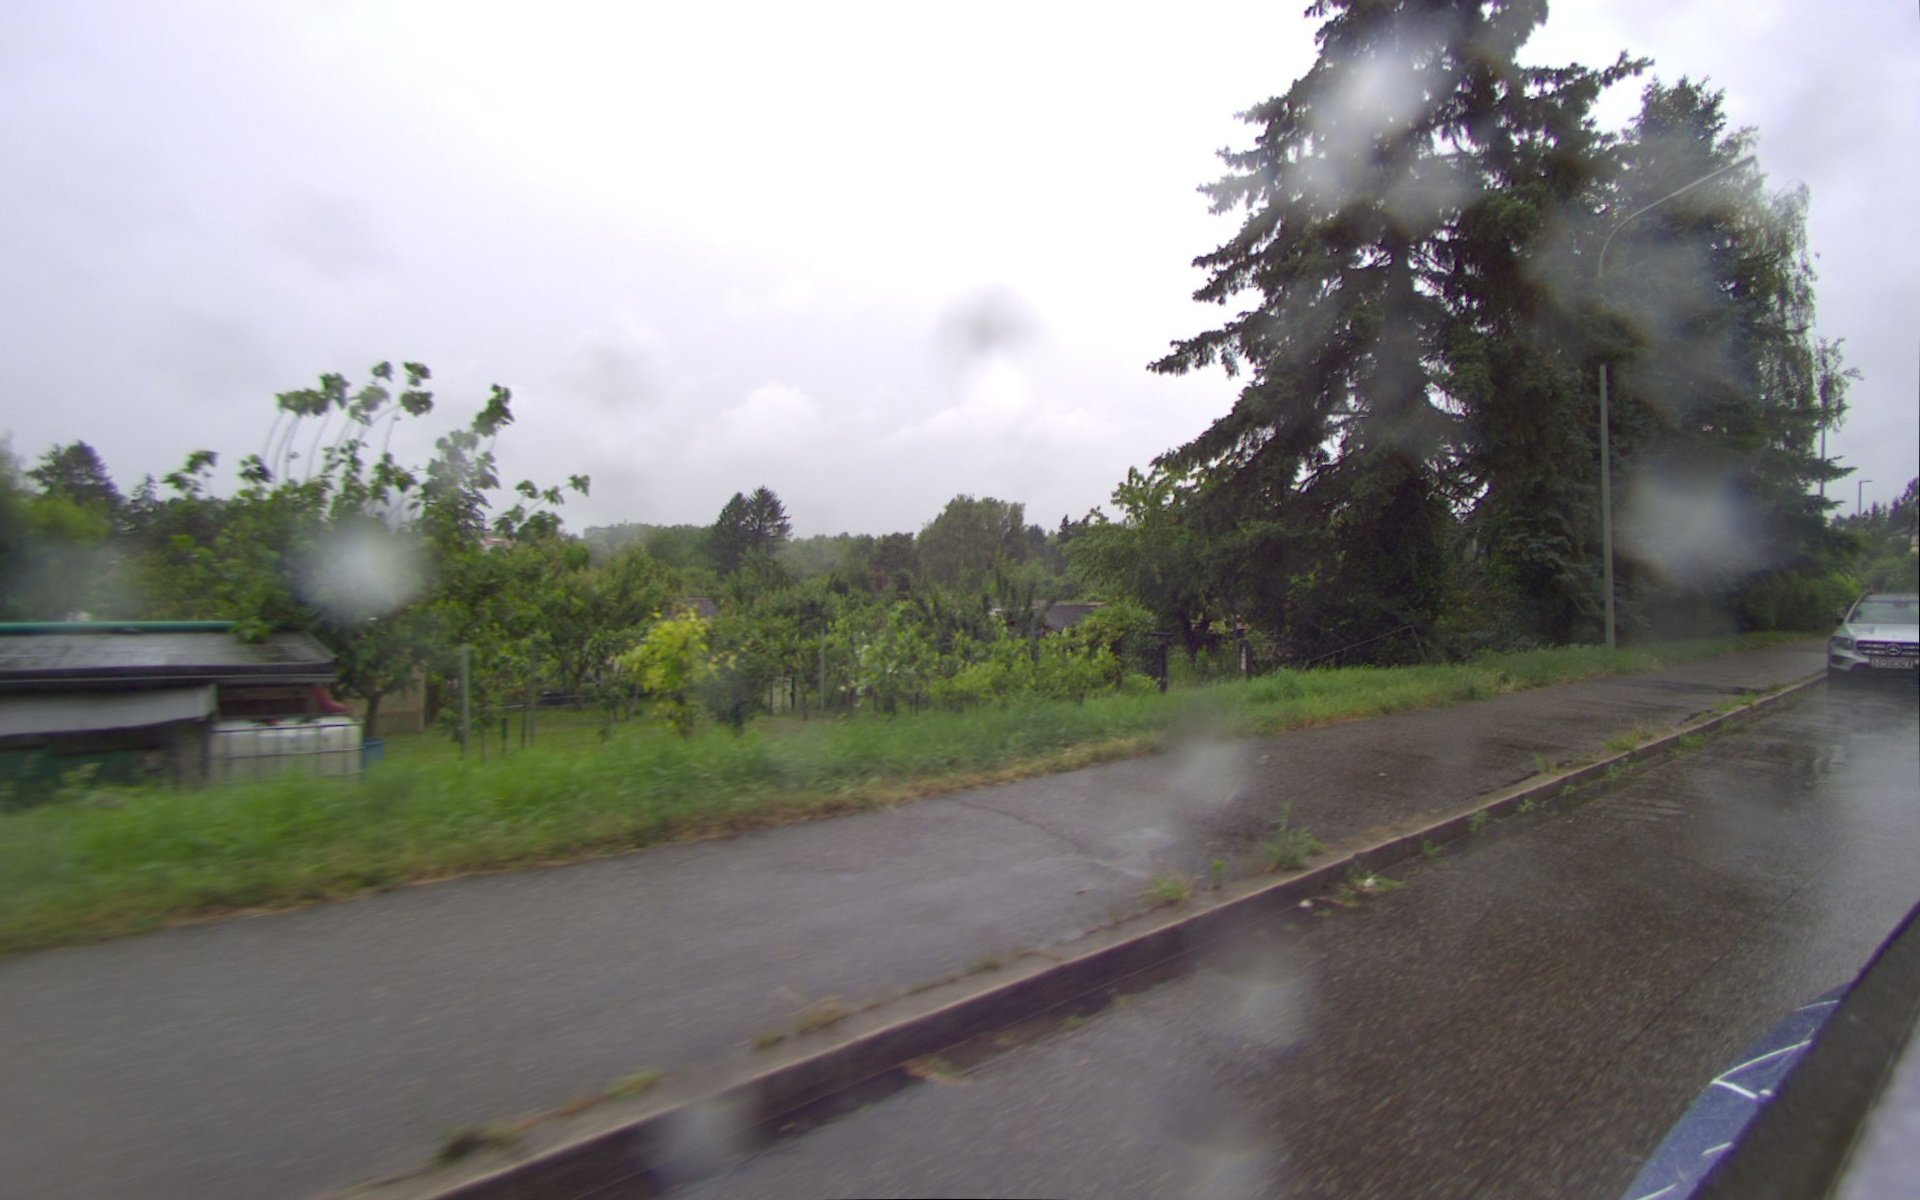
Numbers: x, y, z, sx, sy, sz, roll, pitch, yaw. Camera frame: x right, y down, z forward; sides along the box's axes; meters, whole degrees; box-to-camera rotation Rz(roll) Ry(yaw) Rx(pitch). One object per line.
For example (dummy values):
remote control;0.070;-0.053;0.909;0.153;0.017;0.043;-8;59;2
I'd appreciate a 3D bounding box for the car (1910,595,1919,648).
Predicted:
car;27.693;0.595;28.083;4.134;1.420;1.711;0;2;-44

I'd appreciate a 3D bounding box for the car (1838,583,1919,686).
car;17.158;0.554;18.086;4.322;1.666;1.817;0;2;-44

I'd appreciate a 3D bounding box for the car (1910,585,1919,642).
car;32.401;0.441;33.032;4.289;1.812;1.786;0;2;-44

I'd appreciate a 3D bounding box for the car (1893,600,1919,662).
car;22.515;0.680;23.007;4.374;1.298;1.632;0;2;-44
